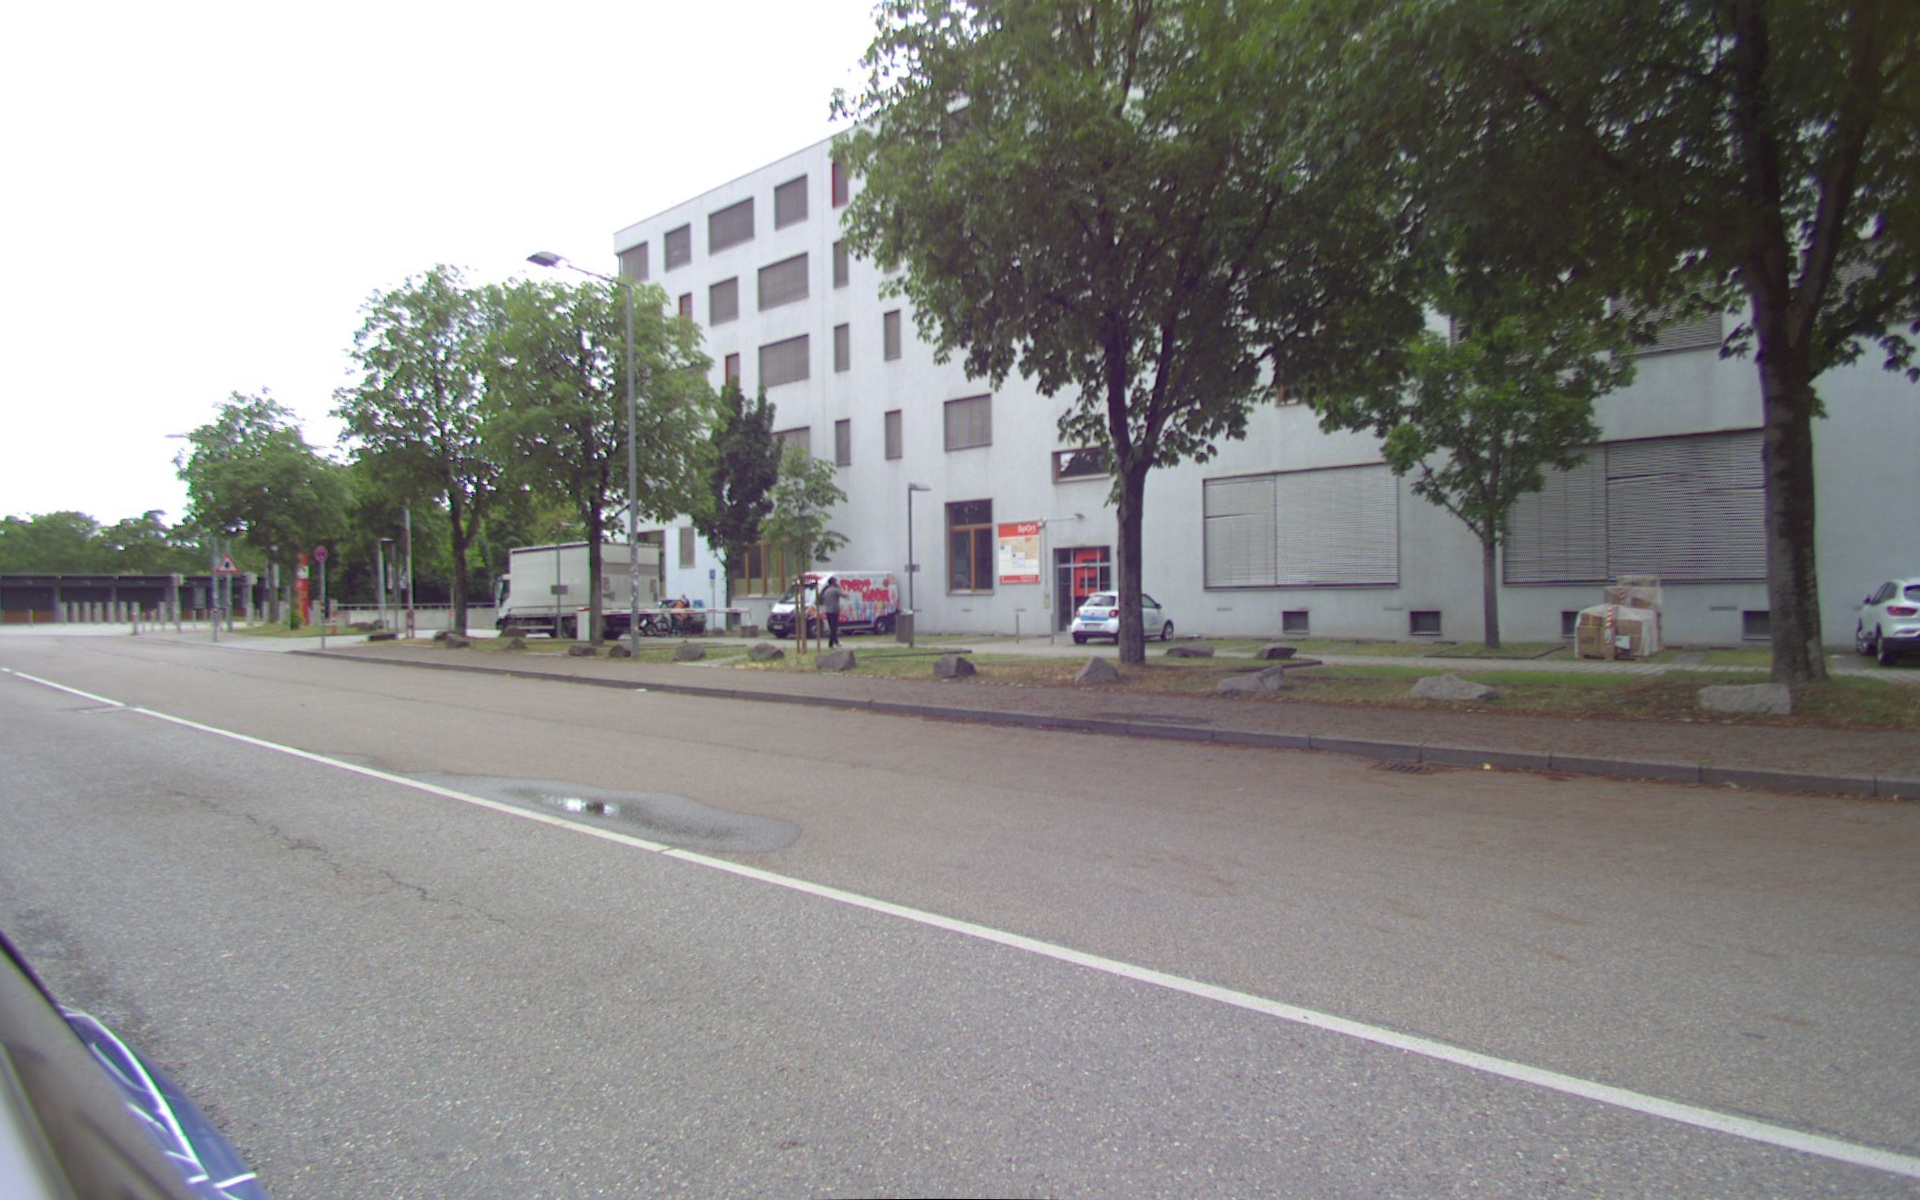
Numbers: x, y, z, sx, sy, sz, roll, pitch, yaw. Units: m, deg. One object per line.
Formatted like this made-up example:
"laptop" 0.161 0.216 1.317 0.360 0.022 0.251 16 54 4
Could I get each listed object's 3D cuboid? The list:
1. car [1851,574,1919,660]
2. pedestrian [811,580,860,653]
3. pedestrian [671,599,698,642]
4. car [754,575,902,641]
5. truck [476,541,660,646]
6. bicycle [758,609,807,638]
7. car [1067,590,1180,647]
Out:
"car" 17.934 0.255 18.651 1.896 1.467 3.963 0 1 36
"pedestrian" -2.935 0.374 23.967 0.785 1.684 0.836 0 1 35
"pedestrian" -10.666 0.776 39.194 0.875 1.618 0.680 -1 1 -3
"car" -4.866 0.218 38.094 2.078 2.296 5.569 0 1 40
"truck" -15.129 -0.278 38.710 8.354 3.627 2.651 0 1 38
"bicycle" -7.253 0.945 41.435 0.614 1.078 2.002 0 2 44
"car" 4.847 0.482 29.772 1.691 1.511 3.576 0 1 40
